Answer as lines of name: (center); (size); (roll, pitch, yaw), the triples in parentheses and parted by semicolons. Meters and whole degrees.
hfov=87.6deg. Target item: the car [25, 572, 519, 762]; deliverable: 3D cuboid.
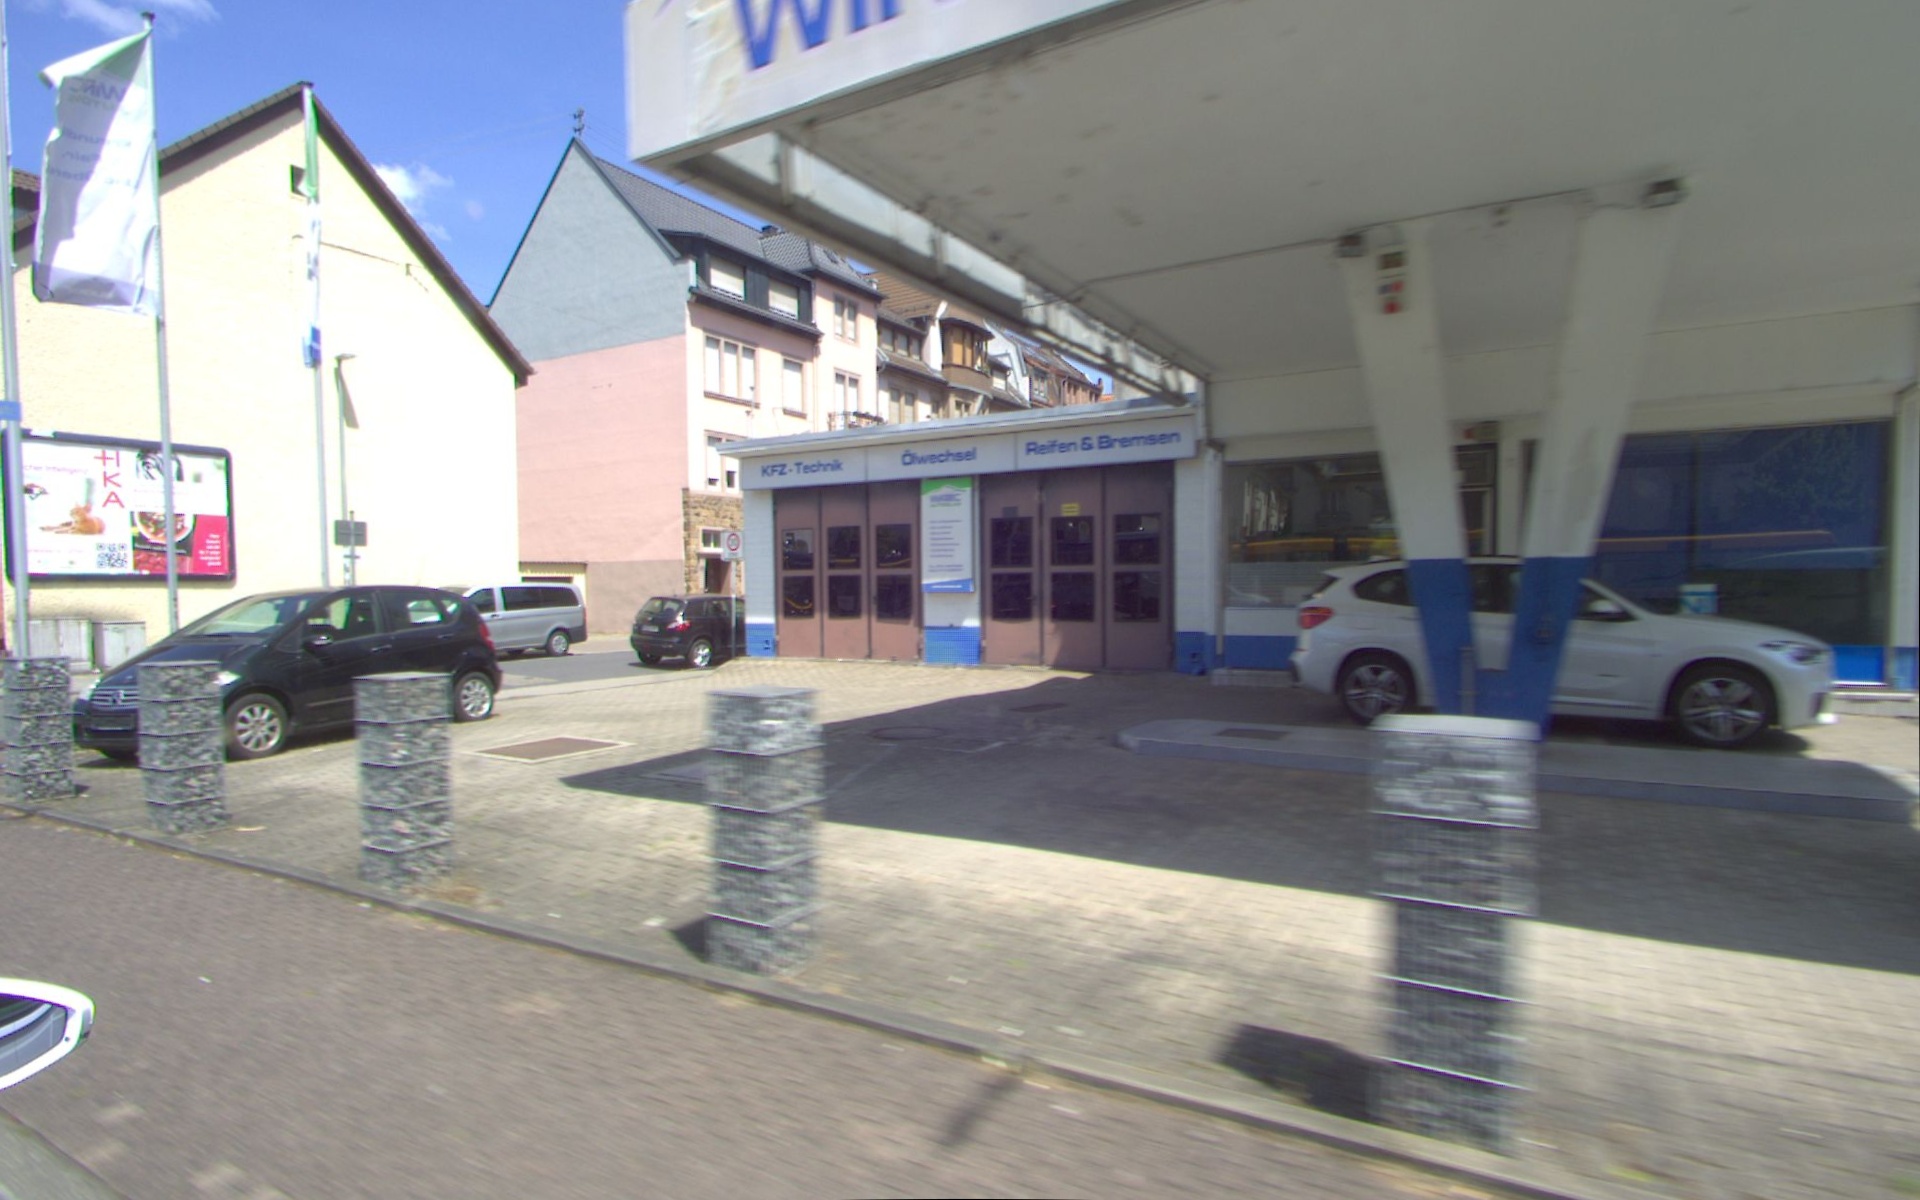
car: (-6.715, 0.552, 10.335); (1.810, 1.563, 3.881); (-1, 0, 18)

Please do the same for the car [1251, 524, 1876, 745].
car: (5.294, 0.269, 9.426); (4.638, 1.648, 1.742); (0, 1, 32)

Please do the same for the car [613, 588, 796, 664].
car: (-5.787, 0.543, 23.102); (1.816, 1.563, 3.866); (-1, 0, 33)

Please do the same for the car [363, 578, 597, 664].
car: (-11.596, 0.455, 24.640); (1.879, 1.886, 5.049); (-1, 0, 27)
